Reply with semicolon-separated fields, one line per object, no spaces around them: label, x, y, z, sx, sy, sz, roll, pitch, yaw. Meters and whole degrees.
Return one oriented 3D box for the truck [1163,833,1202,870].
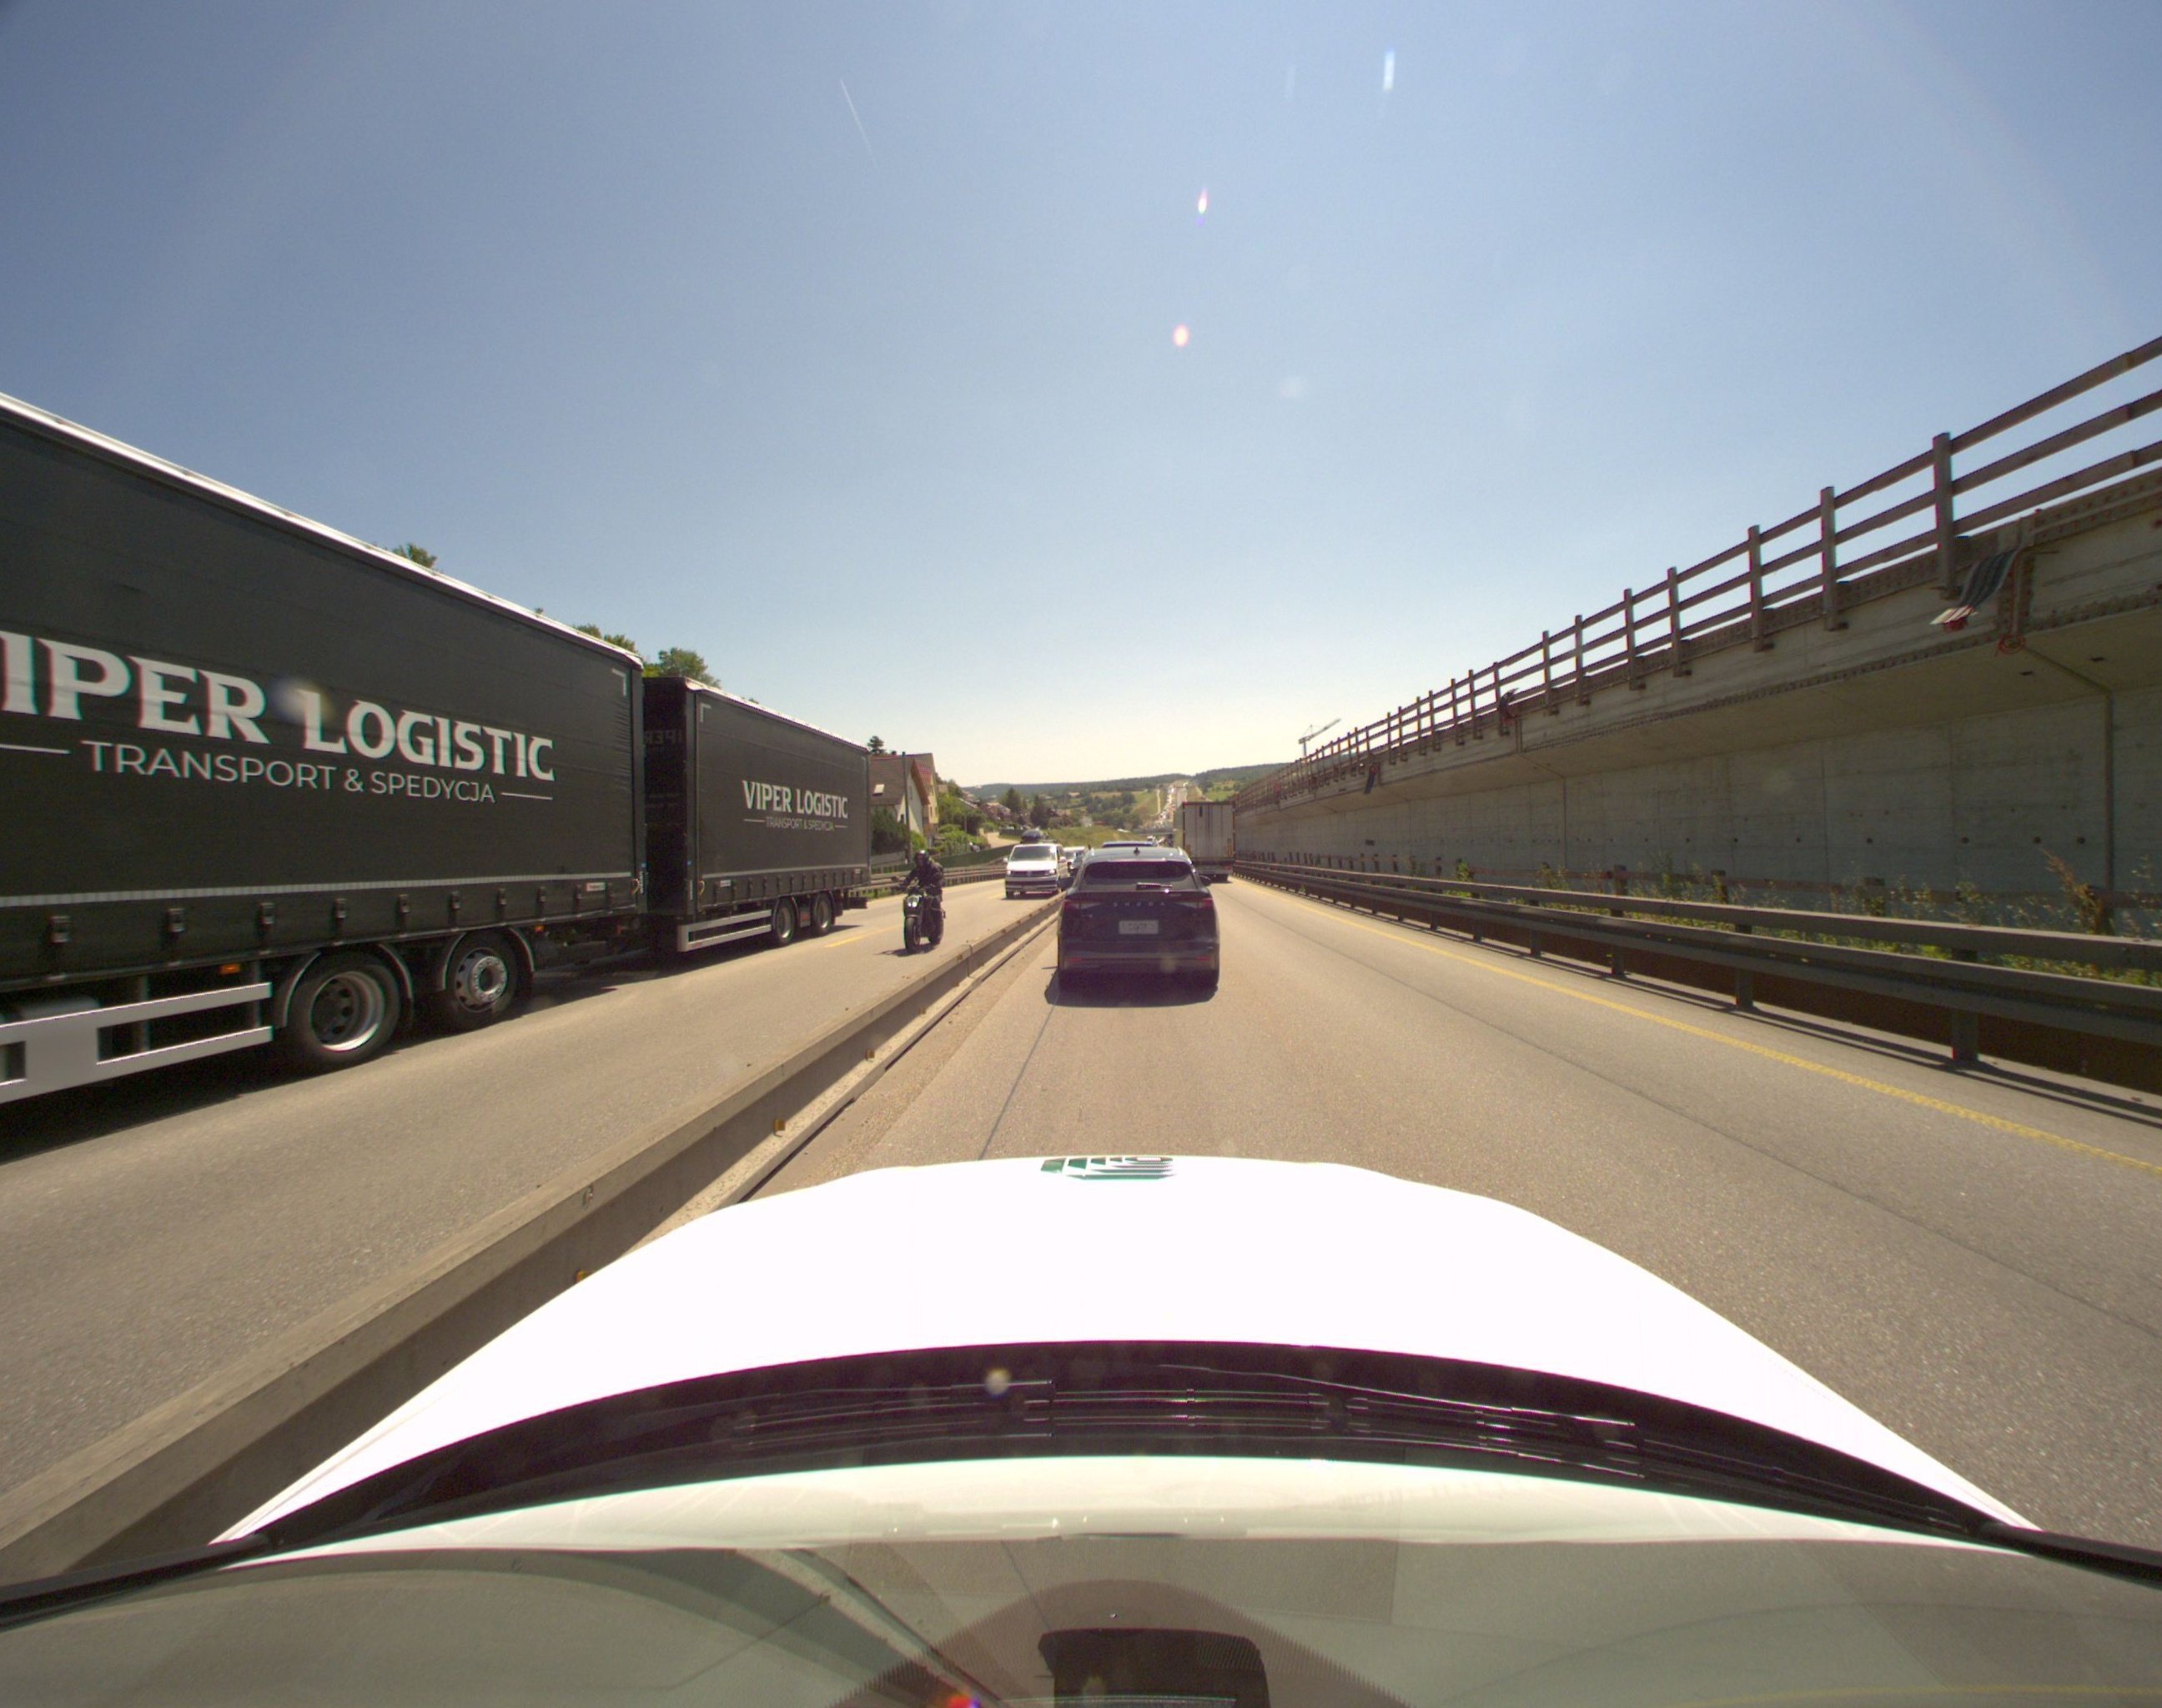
truck;9.572;-0.081;77.864;3.180;3.191;12.825;-1;-1;5

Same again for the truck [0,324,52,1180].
truck;-6.894;-0.500;1.833;2.741;4.283;4.961;-1;0;3

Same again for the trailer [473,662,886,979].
trailer;-6.249;-0.467;14.867;2.745;4.070;8.643;-1;1;4

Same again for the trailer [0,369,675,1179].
trailer;-6.723;-0.421;6.441;2.747;4.070;8.011;-1;1;2

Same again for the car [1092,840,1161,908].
car;1.289;0.549;24.697;1.702;1.881;3.997;-1;0;-2

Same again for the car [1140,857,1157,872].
car;7.557;1.187;91.775;1.701;1.622;4.001;-1;0;1

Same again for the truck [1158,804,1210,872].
truck;6.495;-0.874;52.535;2.504;4.025;8.240;-1;-1;2

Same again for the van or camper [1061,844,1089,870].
van or camper;-0.561;0.366;83.033;2.343;2.516;6.335;-1;-1;5

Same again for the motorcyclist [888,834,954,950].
motorcyclist;-2.664;0.613;13.670;0.850;1.855;0.984;-1;0;2

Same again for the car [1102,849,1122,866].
car;3.055;0.350;79.956;1.864;1.586;4.483;-1;-1;3

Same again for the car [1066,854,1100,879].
car;0.186;0.809;52.844;1.986;1.504;4.651;-1;-1;2

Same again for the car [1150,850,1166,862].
car;10.905;0.291;115.082;1.986;1.585;3.838;-1;-1;2

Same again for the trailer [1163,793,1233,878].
trailer;6.273;-0.779;45.414;2.522;4.127;11.550;-1;-1;1

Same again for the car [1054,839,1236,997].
car;0.593;0.688;10.304;1.838;1.586;3.903;-1;-1;-2

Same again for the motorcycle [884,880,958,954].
motorcycle;-2.654;1.014;13.693;0.783;1.080;1.913;-1;0;2

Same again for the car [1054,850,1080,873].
car;-1.247;0.739;73.823;1.985;2.014;4.003;-1;-1;3

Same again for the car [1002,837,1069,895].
car;-1.583;0.463;30.213;2.014;1.960;4.901;-1;-1;2
